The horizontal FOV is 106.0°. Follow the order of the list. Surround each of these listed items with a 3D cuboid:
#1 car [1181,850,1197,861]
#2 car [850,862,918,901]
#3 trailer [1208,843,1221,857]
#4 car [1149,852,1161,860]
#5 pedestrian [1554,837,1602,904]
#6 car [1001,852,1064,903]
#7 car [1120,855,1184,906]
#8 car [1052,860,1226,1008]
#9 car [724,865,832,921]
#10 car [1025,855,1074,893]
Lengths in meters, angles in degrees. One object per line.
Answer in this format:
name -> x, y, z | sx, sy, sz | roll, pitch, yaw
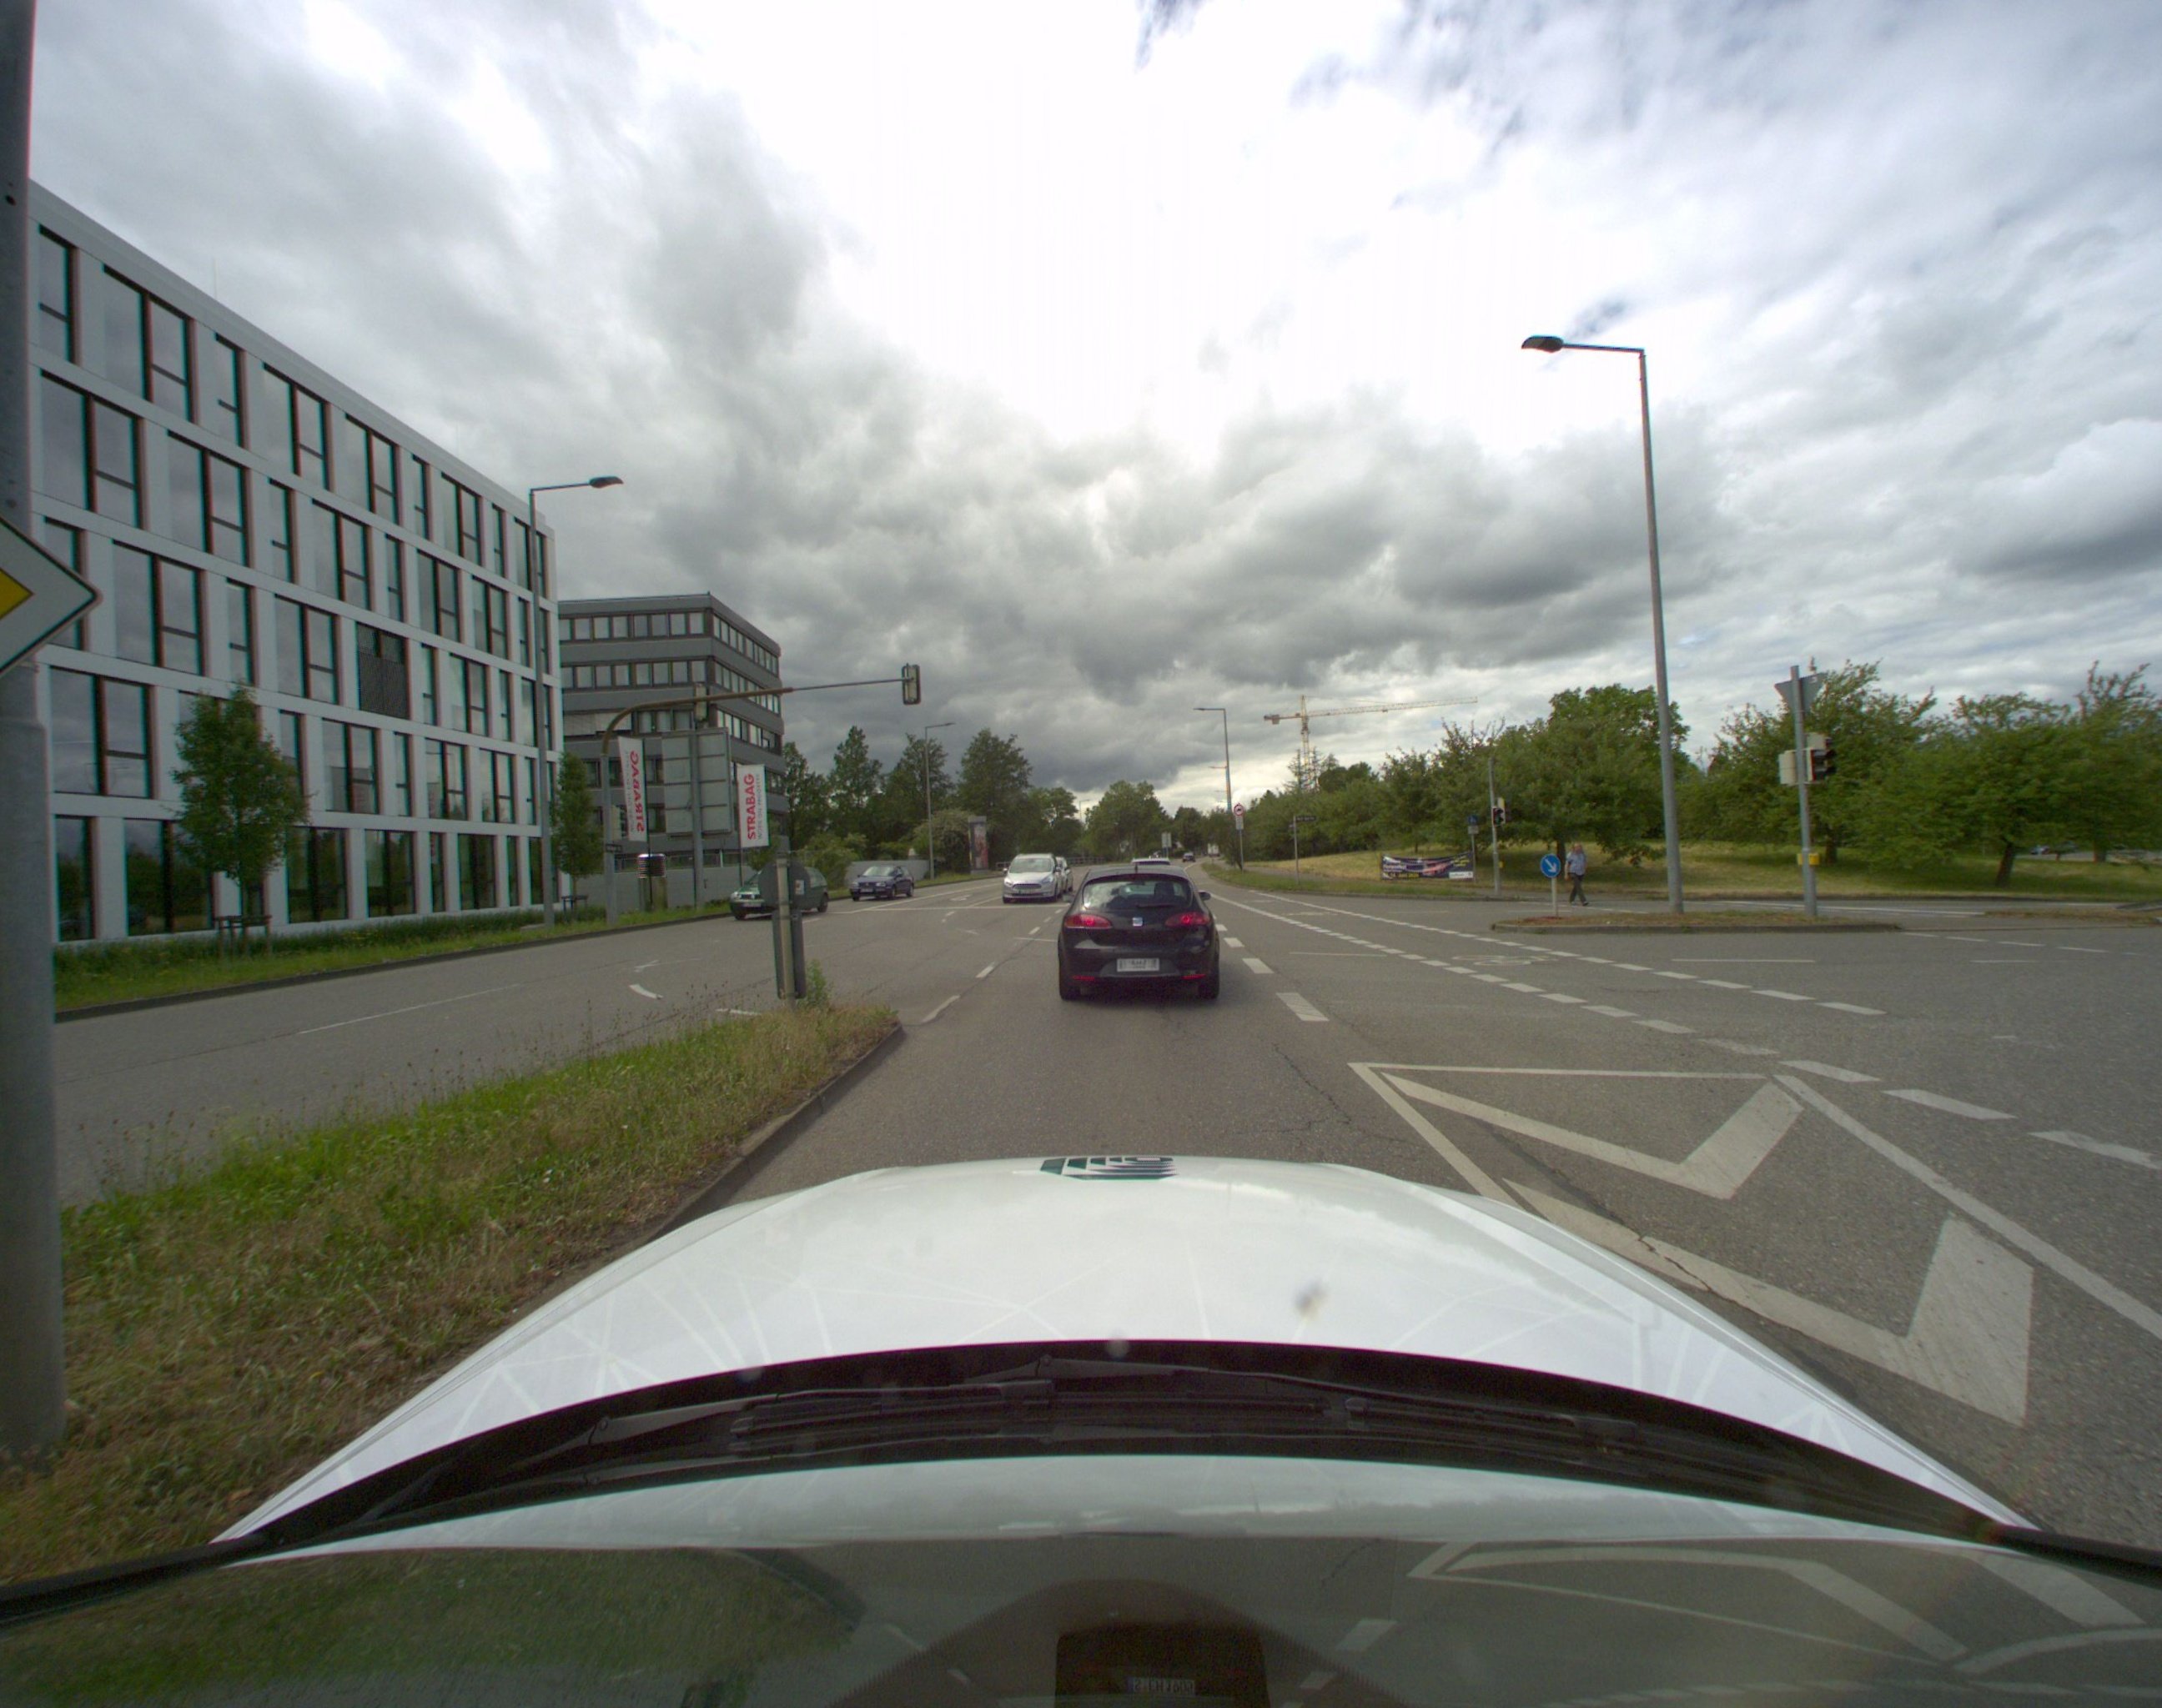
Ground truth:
car -> 16.406, 0.164, 123.537 | 1.980, 1.565, 4.487 | -2, 0, 13
car -> -8.027, 1.080, 33.437 | 1.547, 1.419, 3.900 | -1, 0, 4
trailer -> 30.038, -0.894, 183.179 | 2.473, 3.073, 5.607 | -1, -1, 14
car -> 14.316, 0.443, 157.864 | 1.703, 1.581, 3.755 | -1, -1, 12
pedestrian -> 13.838, 0.454, 22.719 | 0.715, 1.793, 1.045 | -1, -1, 4
car -> -1.675, 0.788, 29.582 | 1.813, 1.686, 4.648 | -1, 0, 2
car -> 2.183, 0.808, 25.885 | 1.828, 1.467, 3.752 | -1, -1, 2
car -> 0.600, 0.811, 9.844 | 1.705, 1.417, 3.459 | -1, 0, 1
car -> -8.803, 1.094, 23.989 | 1.599, 1.432, 3.755 | -1, 0, 3
car -> -1.309, 0.834, 35.593 | 1.653, 1.518, 4.089 | -1, 0, 5
